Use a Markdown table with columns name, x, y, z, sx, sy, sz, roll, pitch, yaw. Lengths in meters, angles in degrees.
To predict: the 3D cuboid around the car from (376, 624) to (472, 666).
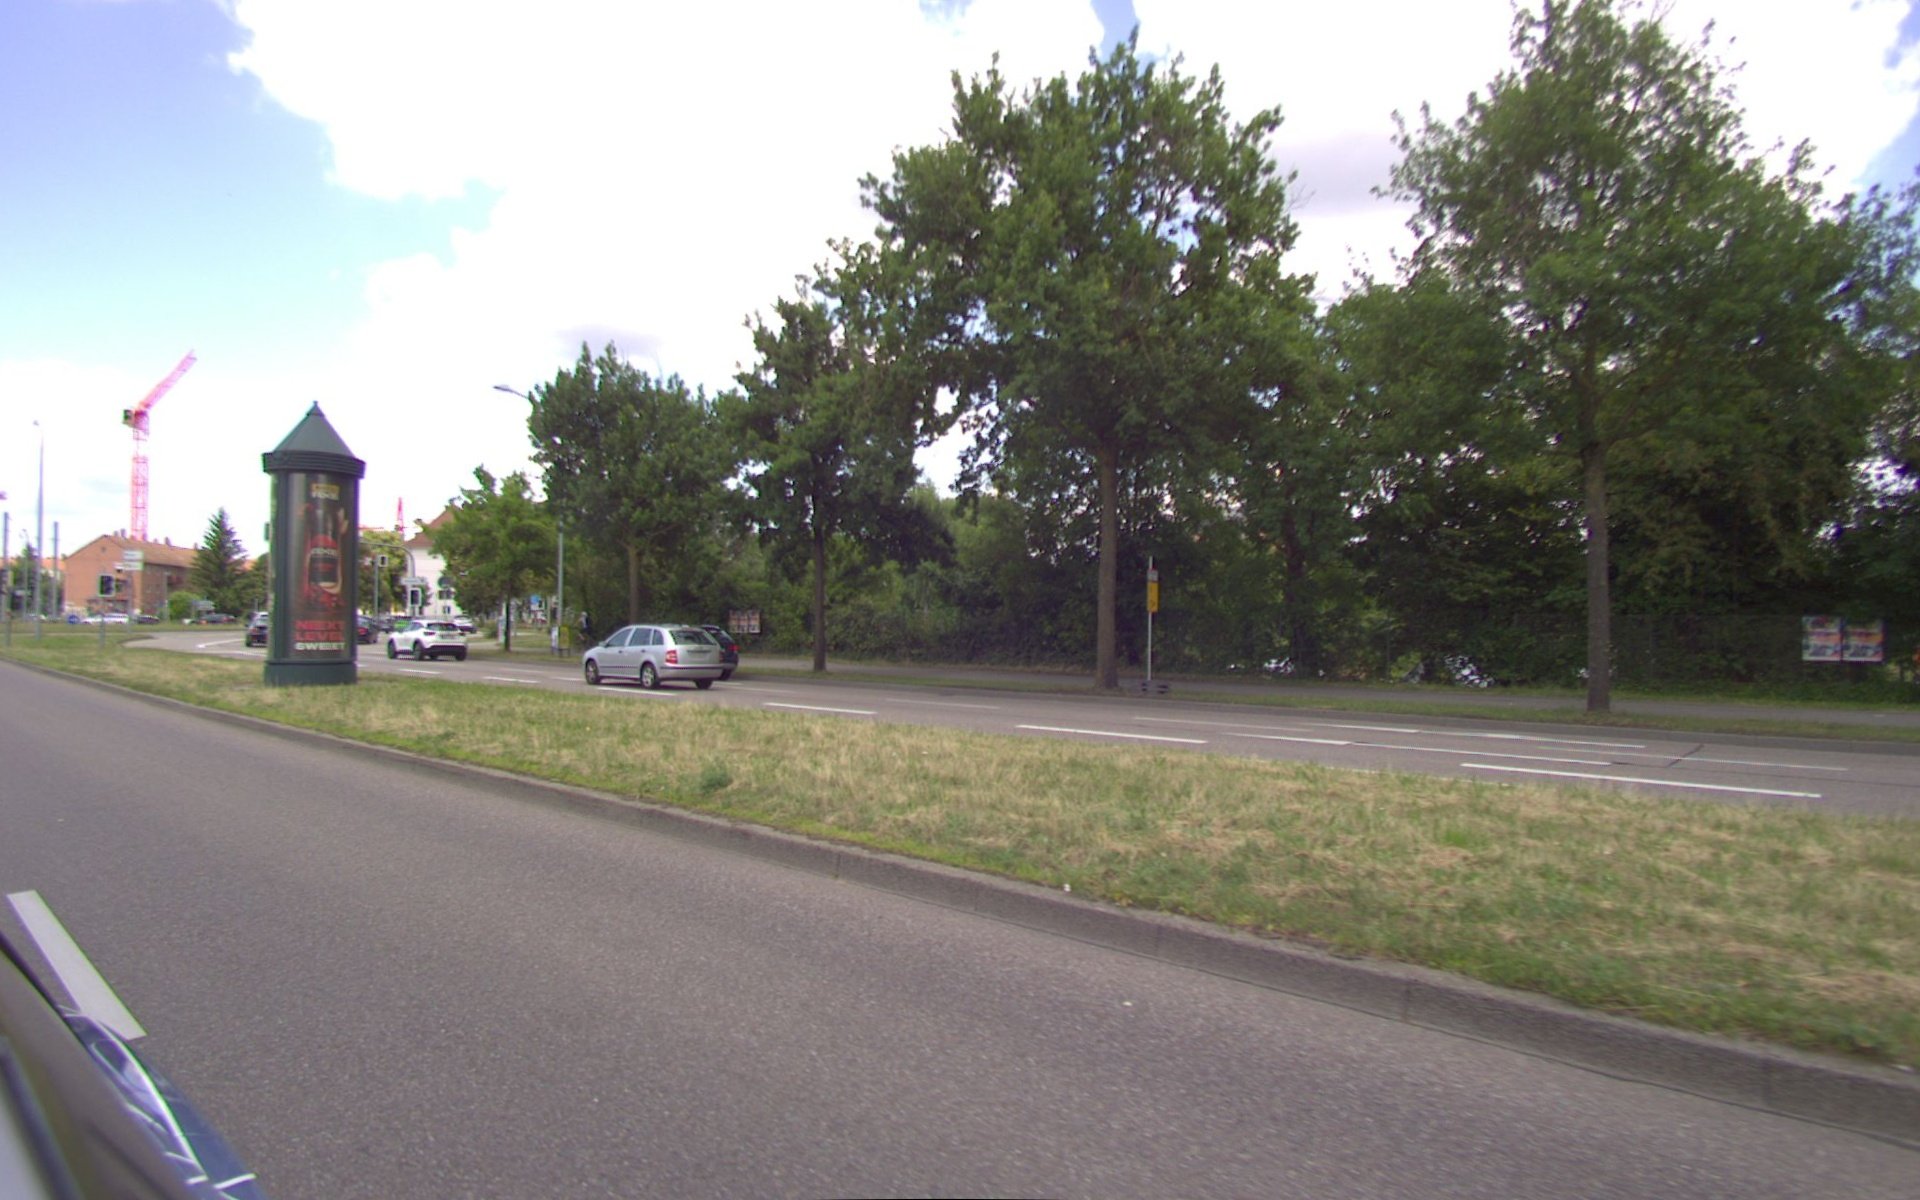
| name | x | y | z | sx | sy | sz | roll | pitch | yaw |
| --- | --- | --- | --- | --- | --- | --- | --- | --- | --- |
| car | -21.197 | 1.746 | 39.951 | 4.366 | 1.552 | 1.890 | -1 | -3 | 41 |

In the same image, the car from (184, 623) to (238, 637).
| name | x | y | z | sx | sy | sz | roll | pitch | yaw |
| --- | --- | --- | --- | --- | --- | --- | --- | --- | --- |
| car | -74.888 | 3.040 | 101.208 | 3.912 | 1.351 | 1.808 | 1 | -3 | -15 |

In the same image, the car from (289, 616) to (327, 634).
| name | x | y | z | sx | sy | sz | roll | pitch | yaw |
| --- | --- | --- | --- | --- | --- | --- | --- | --- | --- |
| car | -60.056 | 2.320 | 93.176 | 4.592 | 1.604 | 1.887 | -1 | -1 | 43 |

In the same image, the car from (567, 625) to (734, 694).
| name | x | y | z | sx | sy | sz | roll | pitch | yaw |
| --- | --- | --- | --- | --- | --- | --- | --- | --- | --- |
| car | -7.265 | 1.328 | 23.558 | 4.307 | 1.451 | 1.744 | -1 | -3 | 42 |

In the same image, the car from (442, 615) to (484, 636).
| name | x | y | z | sx | sy | sz | roll | pitch | yaw |
| --- | --- | --- | --- | --- | --- | --- | --- | --- | --- |
| car | -41.752 | 2.152 | 85.061 | 1.967 | 1.699 | 4.798 | 0 | -1 | -11 |

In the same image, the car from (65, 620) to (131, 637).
| name | x | y | z | sx | sy | sz | roll | pitch | yaw |
| --- | --- | --- | --- | --- | --- | --- | --- | --- | --- |
| car | -84.389 | 2.770 | 99.158 | 4.430 | 1.533 | 2.130 | 0 | -1 | -18 |

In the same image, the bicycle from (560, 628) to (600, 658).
| name | x | y | z | sx | sy | sz | roll | pitch | yaw |
| --- | --- | --- | --- | --- | --- | --- | --- | --- | --- |
| bicycle | -16.505 | 1.866 | 43.918 | 2.015 | 1.228 | 0.753 | -1 | 1 | 41 |

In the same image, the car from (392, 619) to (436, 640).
| name | x | y | z | sx | sy | sz | roll | pitch | yaw |
| --- | --- | --- | --- | --- | --- | --- | --- | --- | --- |
| car | -38.613 | 2.093 | 71.659 | 1.594 | 1.358 | 4.180 | 2 | -2 | -11 |

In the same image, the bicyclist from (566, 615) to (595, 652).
| name | x | y | z | sx | sy | sz | roll | pitch | yaw |
| --- | --- | --- | --- | --- | --- | --- | --- | --- | --- |
| bicyclist | -16.432 | 1.446 | 43.827 | 0.883 | 1.576 | 0.821 | -1 | 0 | 41 |

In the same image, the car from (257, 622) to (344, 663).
| name | x | y | z | sx | sy | sz | roll | pitch | yaw |
| --- | --- | --- | --- | --- | --- | --- | --- | --- | --- |
| car | -26.986 | 1.697 | 41.347 | 5.011 | 1.603 | 1.704 | -1 | -3 | 41 |

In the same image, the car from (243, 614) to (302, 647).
| name | x | y | z | sx | sy | sz | roll | pitch | yaw |
| --- | --- | --- | --- | --- | --- | --- | --- | --- | --- |
| car | -39.940 | 1.786 | 58.923 | 1.812 | 1.813 | 4.803 | 2 | -3 | -22 |

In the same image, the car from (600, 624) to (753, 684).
| name | x | y | z | sx | sy | sz | roll | pitch | yaw |
| --- | --- | --- | --- | --- | --- | --- | --- | --- | --- |
| car | -8.231 | 1.496 | 29.115 | 5.028 | 1.589 | 1.745 | -1 | -3 | 41 |

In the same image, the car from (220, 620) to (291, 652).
| name | x | y | z | sx | sy | sz | roll | pitch | yaw |
| --- | --- | --- | --- | --- | --- | --- | --- | --- | --- |
| car | -35.079 | 1.770 | 50.343 | 4.751 | 1.491 | 1.818 | -1 | -3 | 42 |
